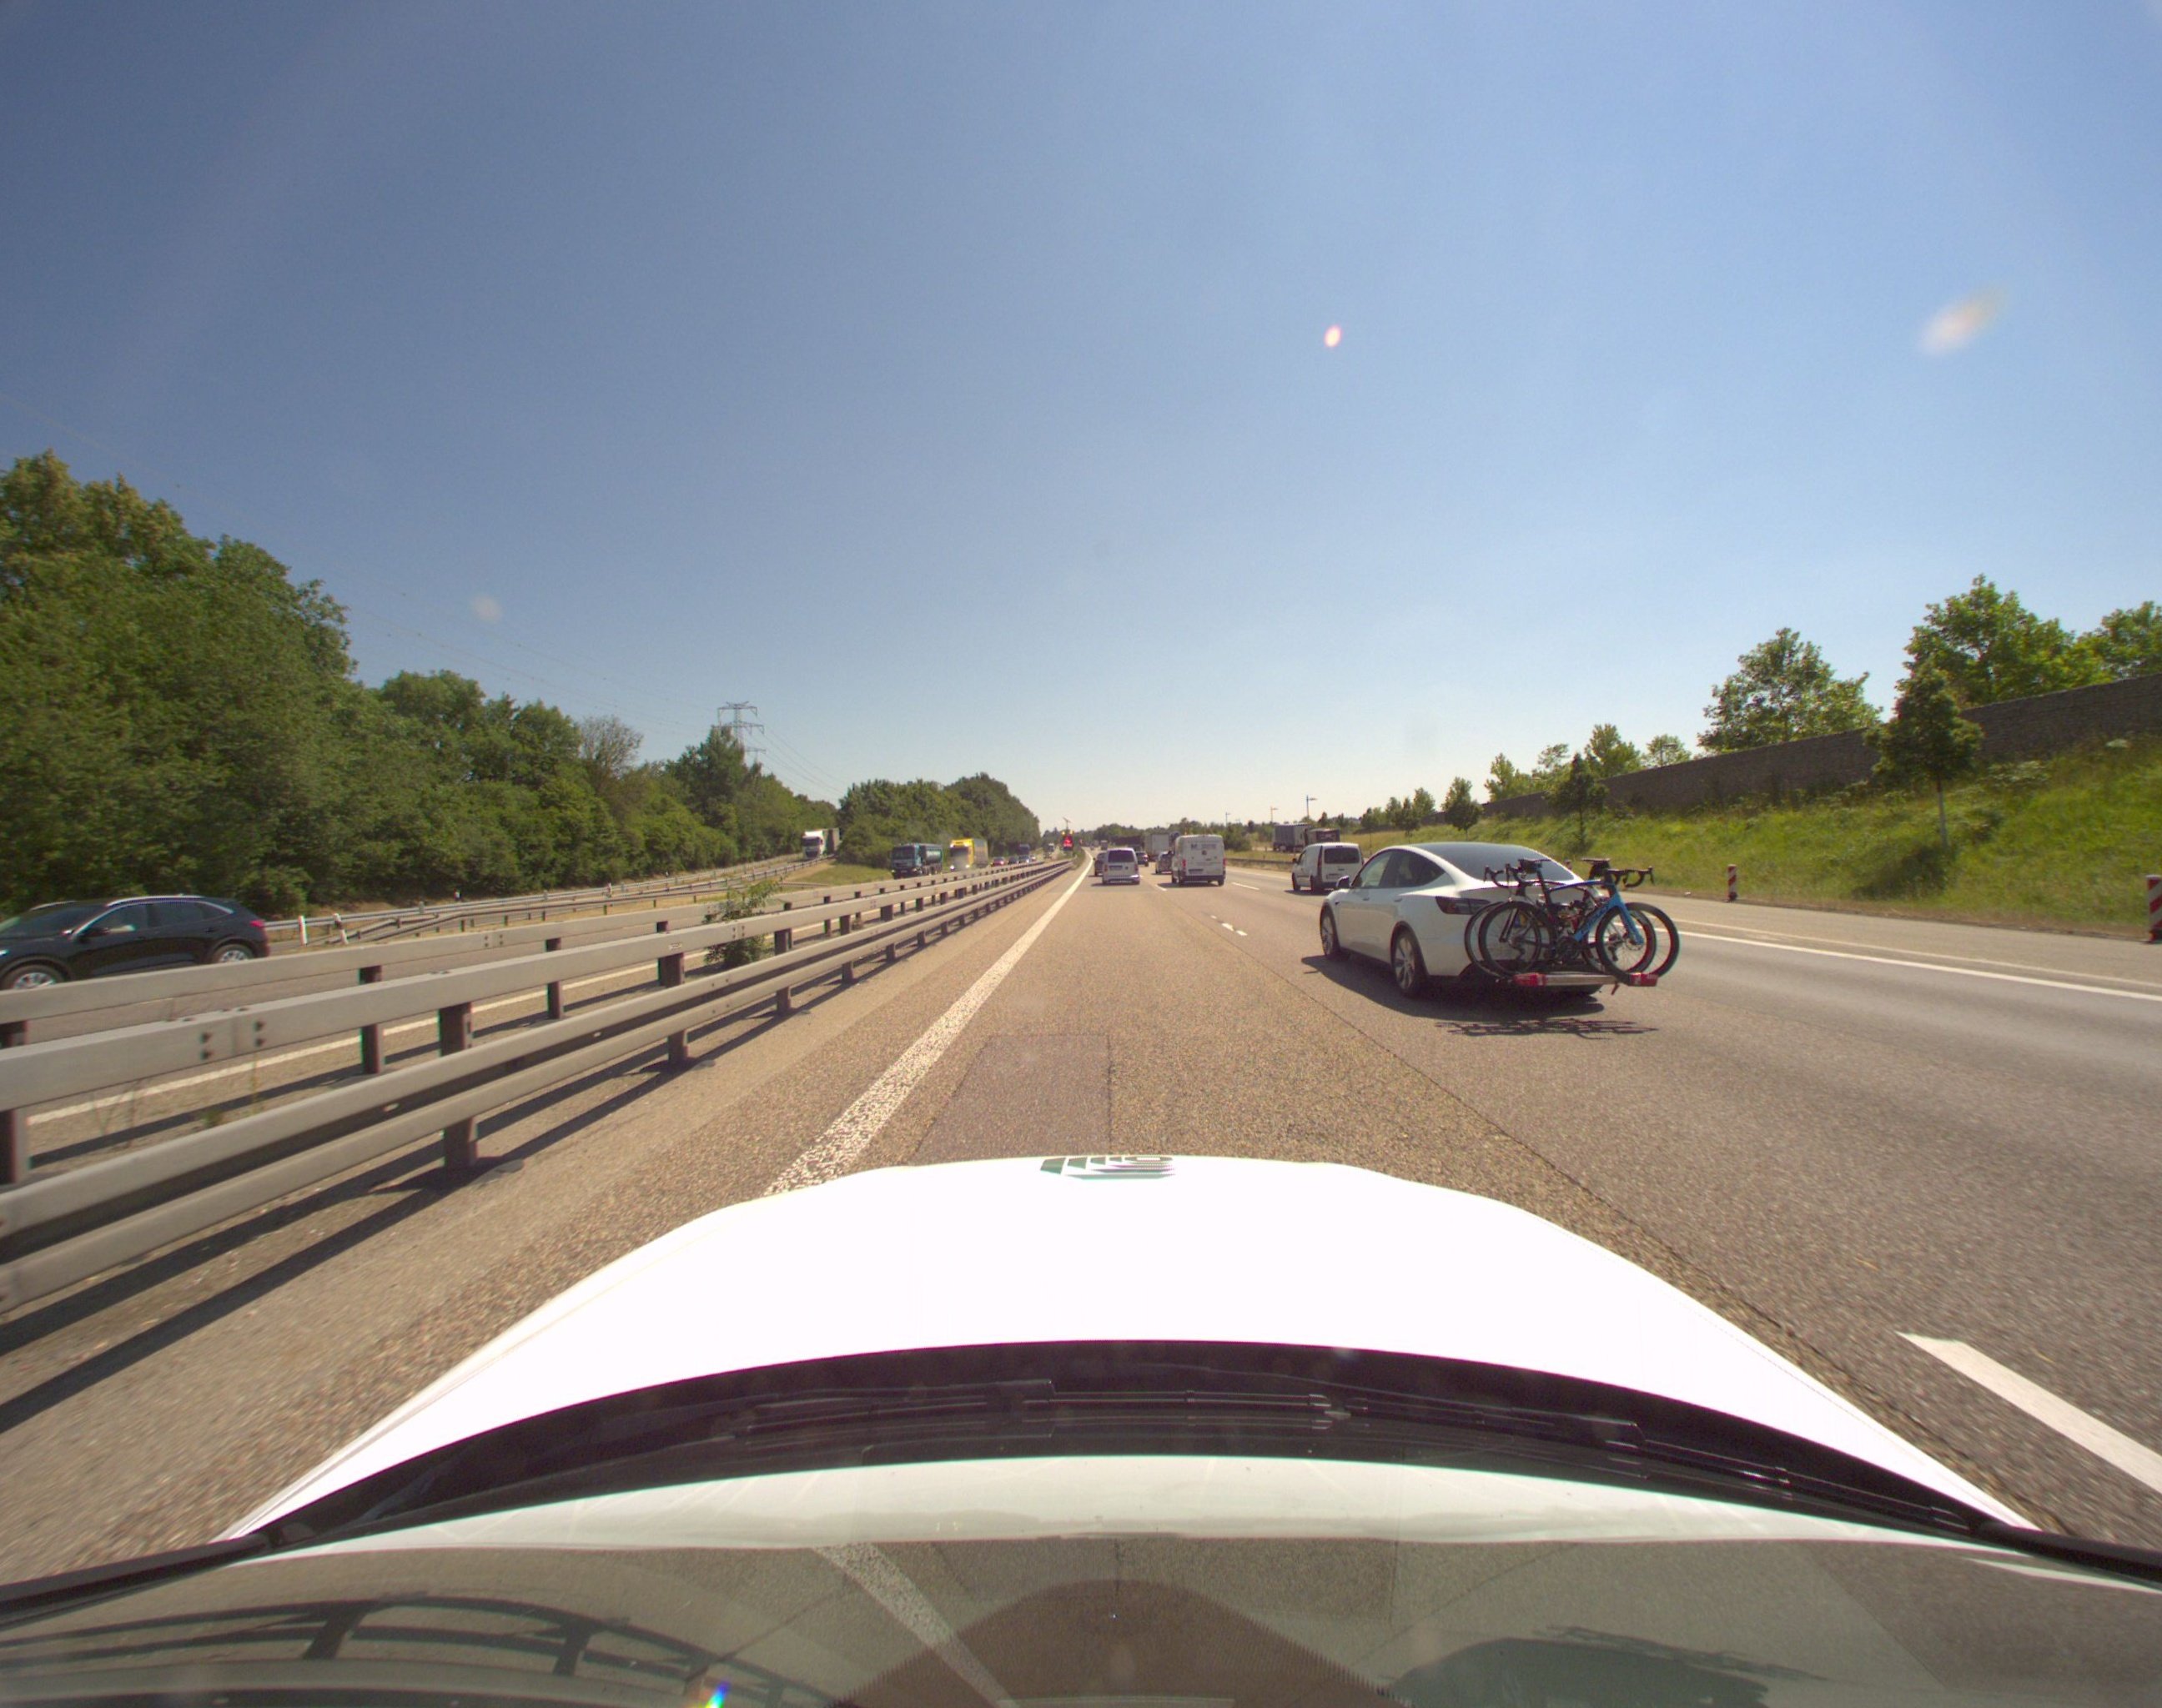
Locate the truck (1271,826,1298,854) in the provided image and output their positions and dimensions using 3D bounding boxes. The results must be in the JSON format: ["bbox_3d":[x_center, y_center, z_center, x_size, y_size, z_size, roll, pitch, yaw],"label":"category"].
[{"bbox_3d":[31.368,-2.112,125.790,3.039,4.083,6.404,0,0,4],"label":"truck"}]

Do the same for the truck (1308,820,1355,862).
[{"bbox_3d":[26.086,-1.223,85.368,3.762,4.083,12.563,0,0,13],"label":"truck"}]

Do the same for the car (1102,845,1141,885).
[{"bbox_3d":[1.963,0.519,40.016,1.738,1.764,4.090,-2,0,2],"label":"car"}]

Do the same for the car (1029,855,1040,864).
[{"bbox_3d":[-9.238,1.055,160.463,1.776,1.530,3.884,-5,0,1],"label":"car"}]

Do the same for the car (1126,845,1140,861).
[{"bbox_3d":[6.495,-0.091,101.915,1.668,1.891,4.090,-2,0,2],"label":"car"}]

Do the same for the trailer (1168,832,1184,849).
[{"bbox_3d":[26.029,-3.598,223.665,2.597,4.258,18.421,0,0,1],"label":"trailer"}]

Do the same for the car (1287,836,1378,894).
[{"bbox_3d":[8.969,0.377,29.446,1.944,1.838,4.178,-2,0,0],"label":"car"}]

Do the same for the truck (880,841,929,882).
[{"bbox_3d":[-15.305,0.613,71.098,2.903,3.300,5.332,-2,0,1],"label":"truck"}]

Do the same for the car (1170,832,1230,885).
[{"bbox_3d":[5.463,0.209,38.001,2.173,2.254,5.366,-1,0,2],"label":"car"}]

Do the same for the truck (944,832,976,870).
[{"bbox_3d":[-14.458,-0.374,97.805,3.165,4.341,3.512,-2,0,0],"label":"truck"}]

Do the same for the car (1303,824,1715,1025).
[{"bbox_3d":[4.259,0.582,9.455,1.943,1.636,5.601,0,0,1],"label":"car"}]

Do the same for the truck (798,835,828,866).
[{"bbox_3d":[-36.321,-0.519,110.364,2.941,3.895,4.314,-2,2,-7],"label":"truck"}]

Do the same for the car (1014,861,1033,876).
[{"bbox_3d":[-6.653,1.610,94.195,1.775,1.624,4.001,-2,0,2],"label":"car"}]

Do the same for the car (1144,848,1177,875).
[{"bbox_3d":[5.437,0.484,55.940,1.968,1.733,4.090,-2,0,2],"label":"car"}]

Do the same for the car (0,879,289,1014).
[{"bbox_3d":[-16.374,1.429,13.424,2.151,1.800,4.512,-4,0,-1],"label":"car"}]

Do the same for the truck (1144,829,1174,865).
[{"bbox_3d":[11.292,-0.906,119.201,3.773,5.000,12.525,0,0,2],"label":"truck"}]

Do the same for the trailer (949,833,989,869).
[{"bbox_3d":[-14.435,-0.378,106.460,3.164,4.341,13.810,-2,0,0],"label":"trailer"}]

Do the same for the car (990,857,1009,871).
[{"bbox_3d":[-9.986,1.183,100.092,1.776,1.530,4.385,-5,0,1],"label":"car"}]

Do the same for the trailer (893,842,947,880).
[{"bbox_3d":[-15.152,0.619,77.498,2.903,3.300,9.713,-2,0,1],"label":"trailer"}]

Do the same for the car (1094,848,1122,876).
[{"bbox_3d":[1.821,0.525,53.764,1.738,1.701,4.091,-2,0,2],"label":"car"}]

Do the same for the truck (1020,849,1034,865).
[{"bbox_3d":[-12.787,0.631,192.428,2.986,3.558,3.118,-2,0,0],"label":"truck"}]

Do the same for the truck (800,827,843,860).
[{"bbox_3d":[-37.256,-1.616,117.574,2.993,4.340,14.514,-2,2,-7],"label":"truck"}]

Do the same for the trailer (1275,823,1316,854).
[{"bbox_3d":[30.863,-2.139,117.740,3.039,4.083,14.271,0,0,4],"label":"trailer"}]

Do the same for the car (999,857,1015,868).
[{"bbox_3d":[-10.956,1.259,121.236,1.705,1.468,4.149,-4,0,3],"label":"car"}]

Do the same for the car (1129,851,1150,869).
[{"bbox_3d":[6.018,0.620,84.240,1.894,1.672,4.090,-2,0,2],"label":"car"}]
